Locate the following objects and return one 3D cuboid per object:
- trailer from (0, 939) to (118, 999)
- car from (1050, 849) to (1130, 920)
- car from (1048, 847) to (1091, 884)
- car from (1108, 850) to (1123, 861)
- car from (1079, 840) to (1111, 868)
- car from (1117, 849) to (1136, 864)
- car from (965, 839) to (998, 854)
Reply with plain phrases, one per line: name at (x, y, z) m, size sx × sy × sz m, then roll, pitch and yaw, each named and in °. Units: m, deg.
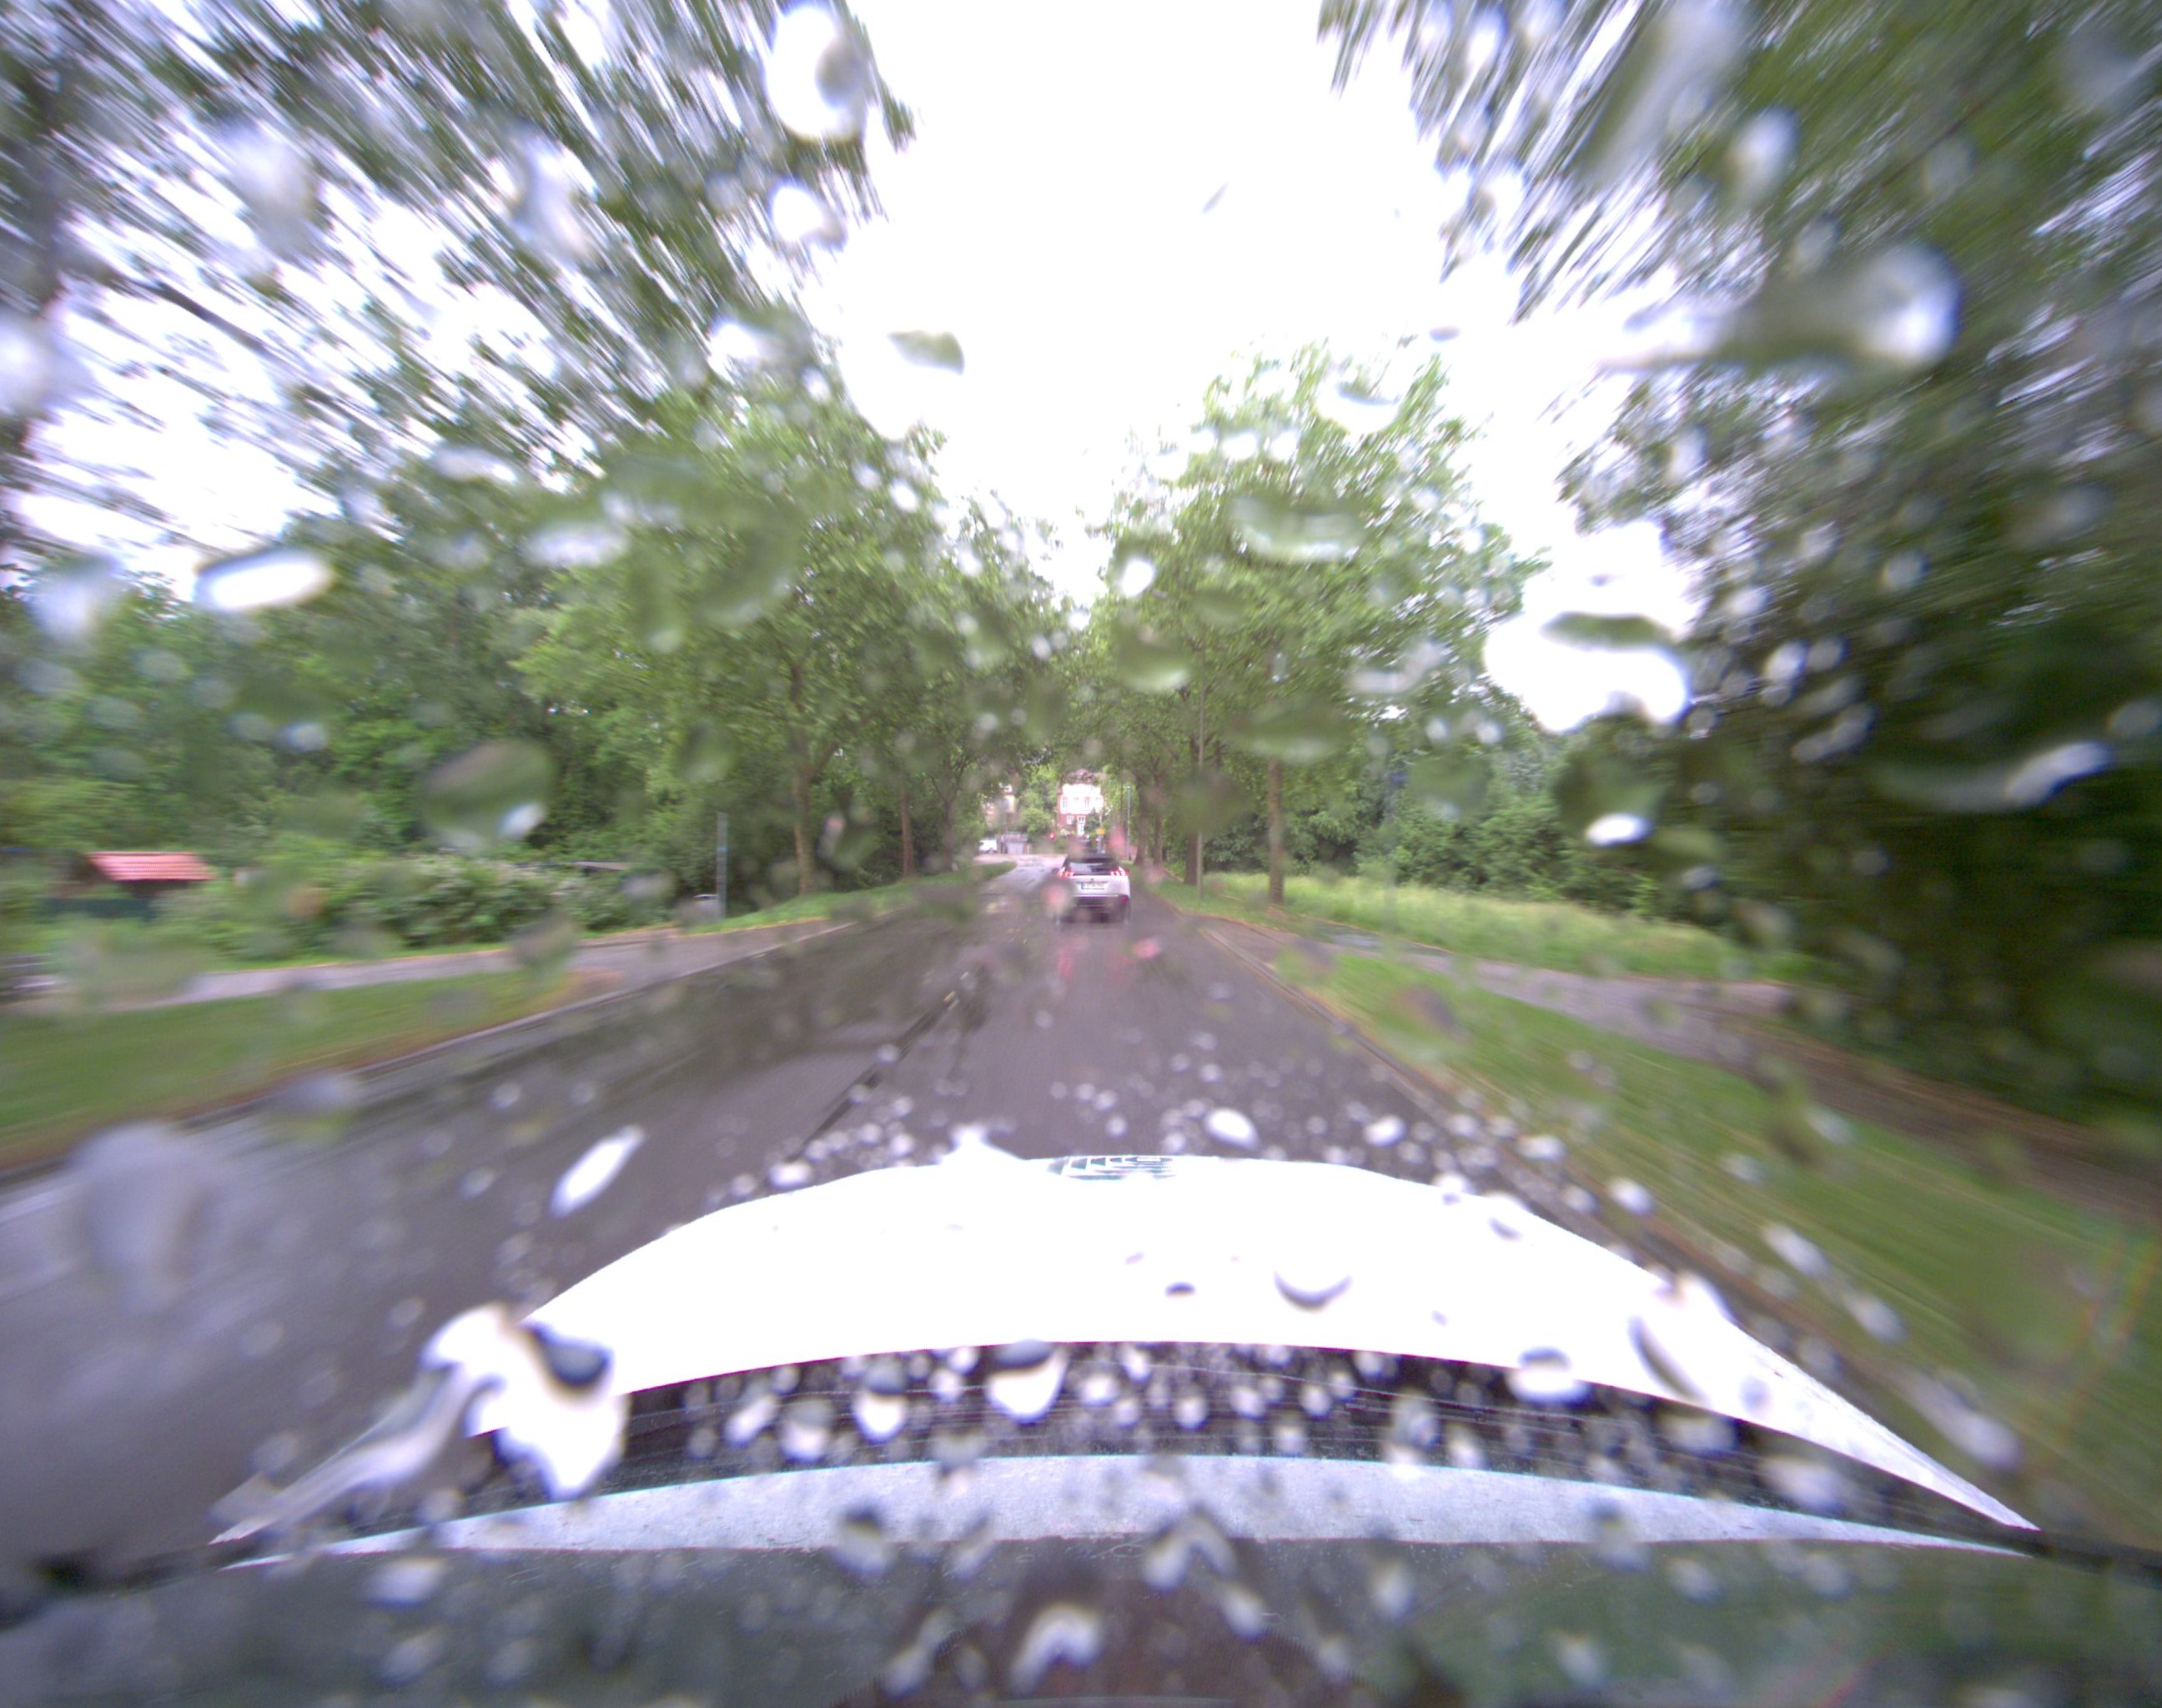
trailer at (-19.085, 1.959, 14.068) m, size 3.015 × 0.837 × 1.680 m, roll 0°, pitch -1°, yaw 4°
car at (0.144, 0.647, 19.994) m, size 1.748 × 1.536 × 4.365 m, roll 0°, pitch 0°, yaw -1°
car at (-0.509, 0.502, 38.642) m, size 1.826 × 1.456 × 4.658 m, roll 3°, pitch 1°, yaw -1°
car at (4.733, 0.185, 112.667) m, size 1.745 × 1.491 × 3.597 m, roll 4°, pitch 0°, yaw -2°
car at (0.875, -0.041, 53.793) m, size 1.756 × 1.711 × 4.596 m, roll 2°, pitch 1°, yaw -3°
car at (5.781, 0.287, 103.291) m, size 1.816 × 1.517 × 3.739 m, roll 8°, pitch 2°, yaw -4°
car at (-17.650, -1.266, 144.618) m, size 5.643 × 2.494 × 2.315 m, roll 2°, pitch -1°, yaw -1°
